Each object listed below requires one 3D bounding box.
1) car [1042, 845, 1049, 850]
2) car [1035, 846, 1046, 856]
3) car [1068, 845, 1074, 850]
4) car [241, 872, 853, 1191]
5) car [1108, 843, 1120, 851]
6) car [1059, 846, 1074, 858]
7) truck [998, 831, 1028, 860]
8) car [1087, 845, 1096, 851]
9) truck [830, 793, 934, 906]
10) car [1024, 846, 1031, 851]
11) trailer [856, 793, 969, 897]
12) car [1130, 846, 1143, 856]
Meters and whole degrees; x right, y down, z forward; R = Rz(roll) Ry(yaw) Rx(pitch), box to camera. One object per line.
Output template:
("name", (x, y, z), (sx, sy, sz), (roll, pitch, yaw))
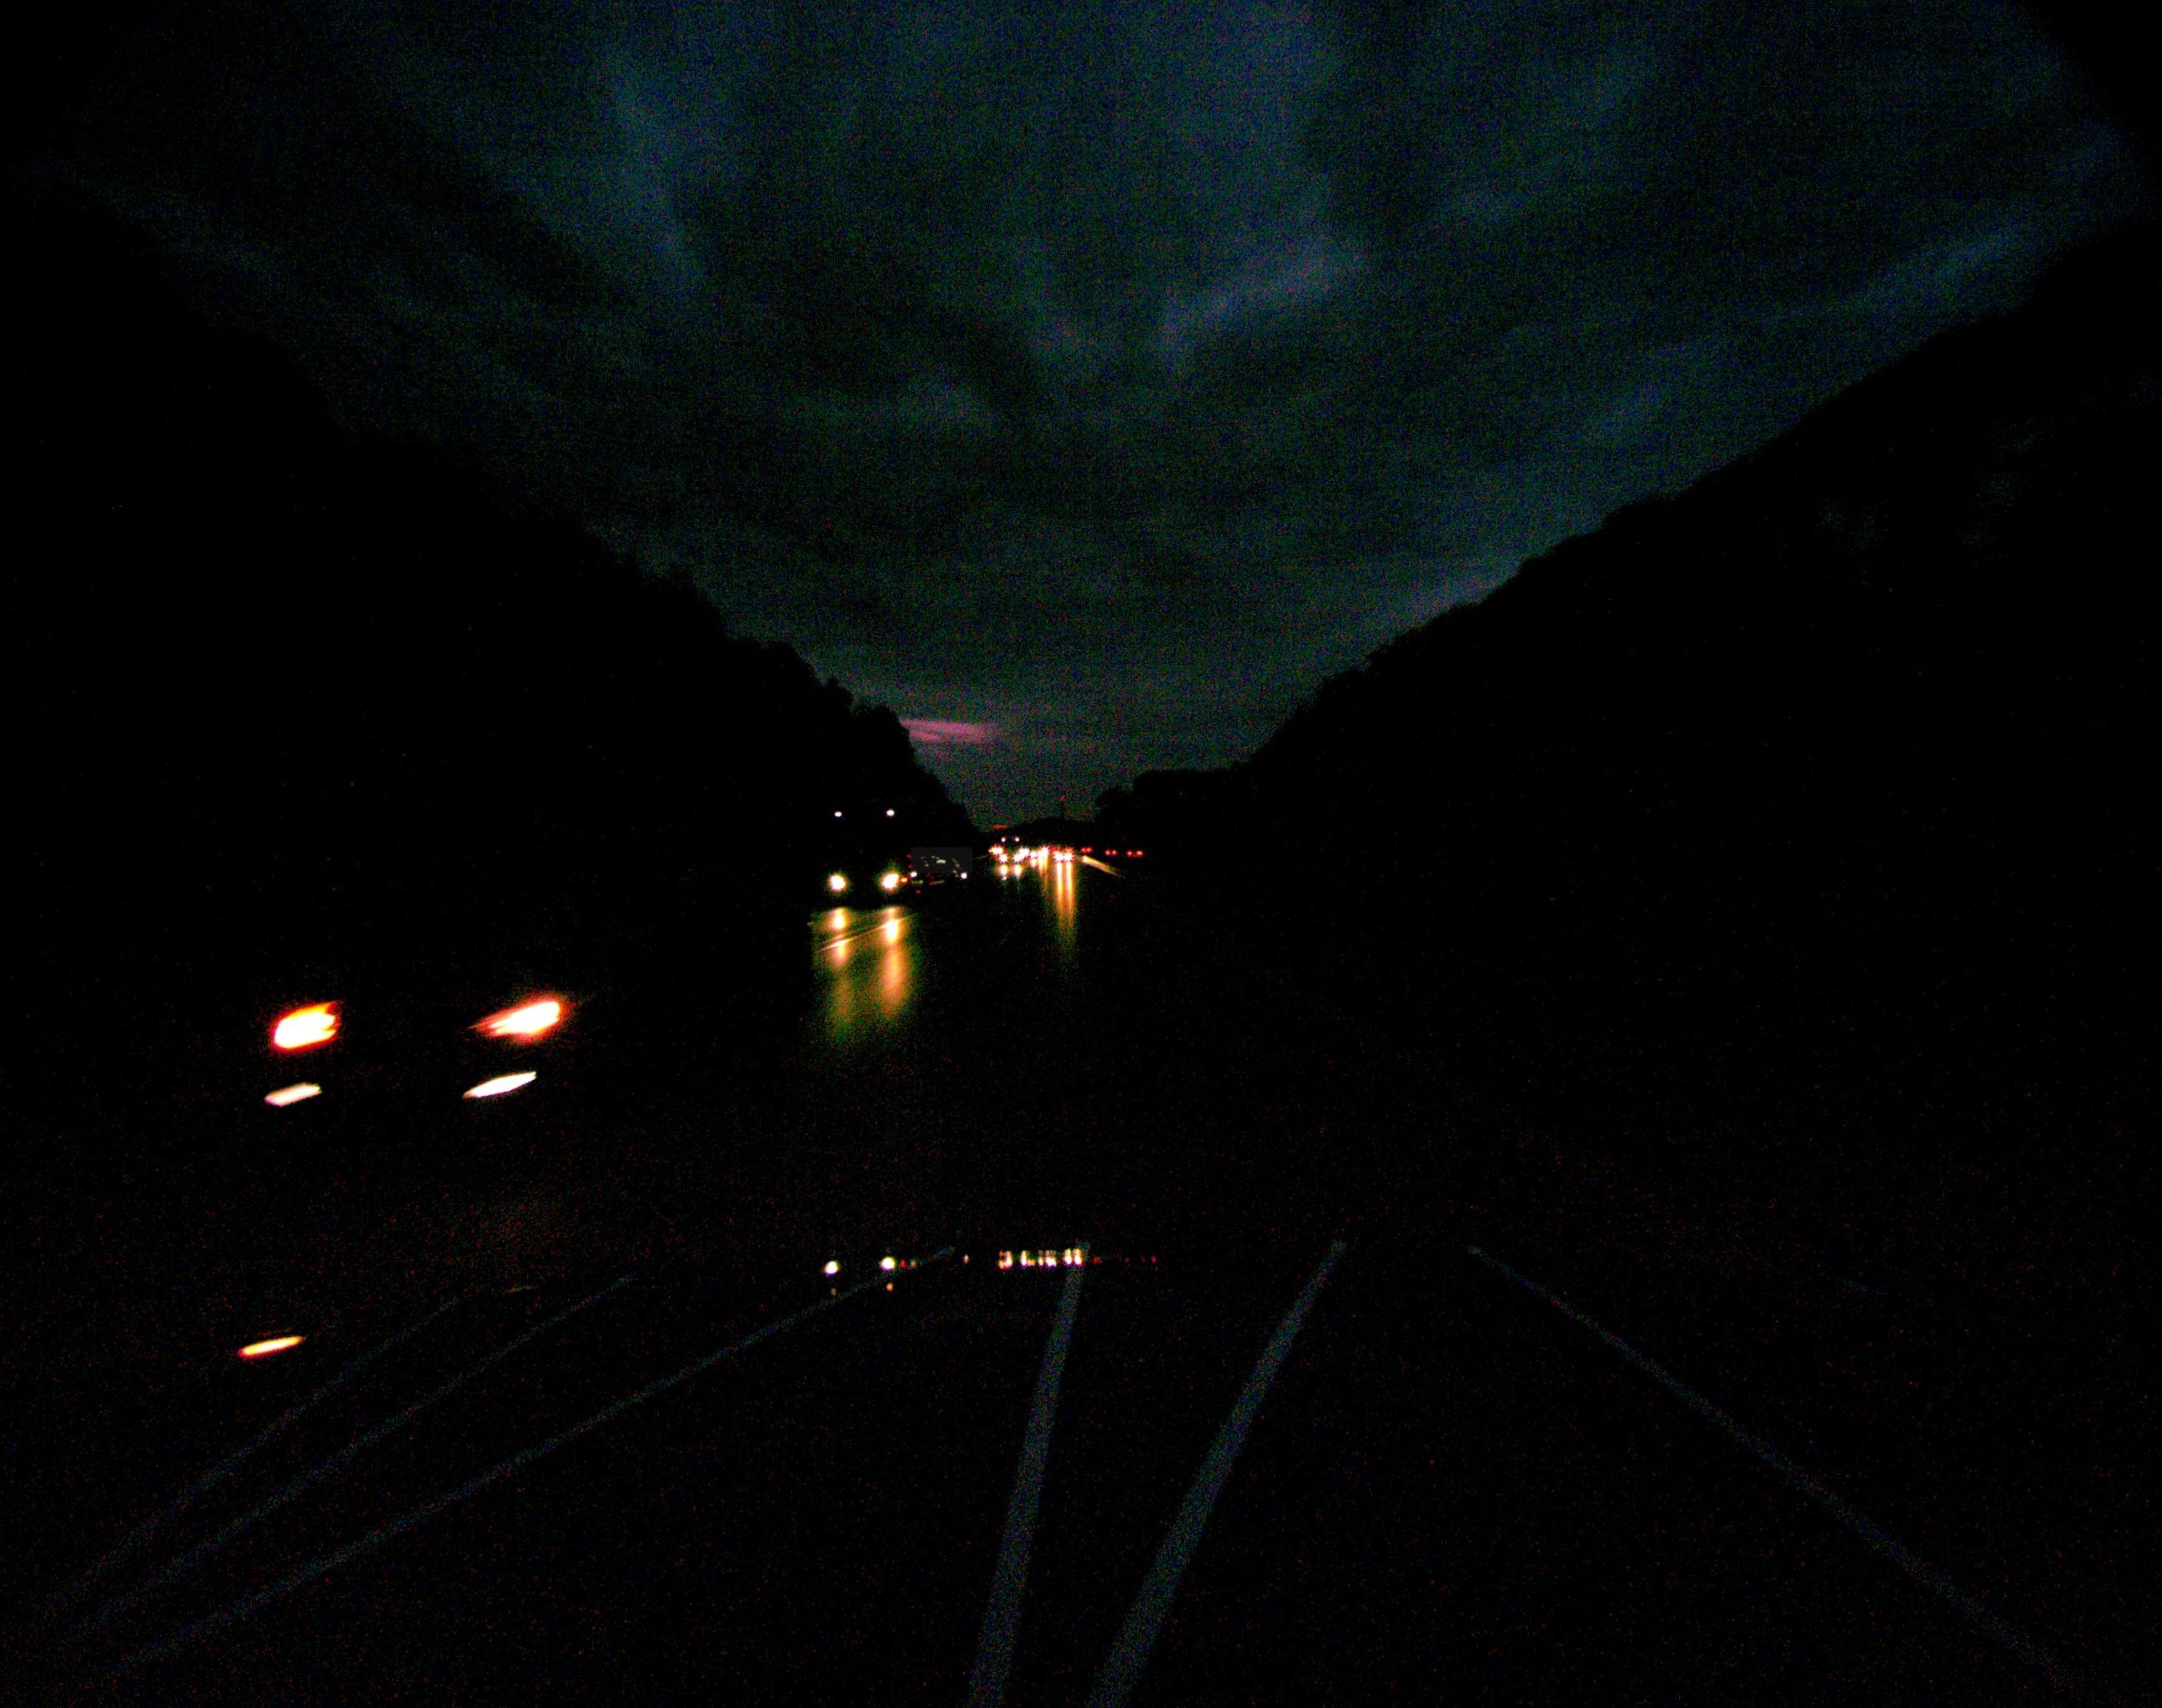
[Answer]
("car", (-9.815, -1.720, 210.465), (1.696, 1.481, 4.948), (0, 0, -2))
("car", (-7.485, -0.546, 141.370), (1.924, 1.706, 4.941), (-2, 1, -2))
("car", (-3.400, -2.085, 252.335), (1.824, 1.548, 4.334), (-1, 1, -3))
("car", (-3.612, 1.018, 6.568), (1.695, 1.481, 4.948), (-2, 1, 1))
("car", (6.580, -1.386, 151.731), (1.825, 1.470, 4.369), (-2, 1, -2))
("car", (-2.061, -0.258, 112.035), (1.869, 1.700, 4.585), (-2, 0, 3))
("truck", (-9.703, -1.252, 110.045), (3.341, 3.945, 13.533), (-2, 1, -1))
("car", (2.763, -1.656, 205.350), (1.924, 1.706, 5.282), (-2, 1, -5))
("truck", (-7.567, -0.191, 29.642), (2.498, 3.945, 5.589), (-2, 1, 0))
("car", (-17.927, -1.878, 253.457), (1.999, 1.641, 3.999), (-2, 1, -2))
("trailer", (-7.633, -0.442, 36.702), (2.489, 4.050, 13.501), (-2, 1, -1))
("car", (8.407, -0.500, 115.275), (1.602, 1.480, 4.230), (-2, 1, -1))
